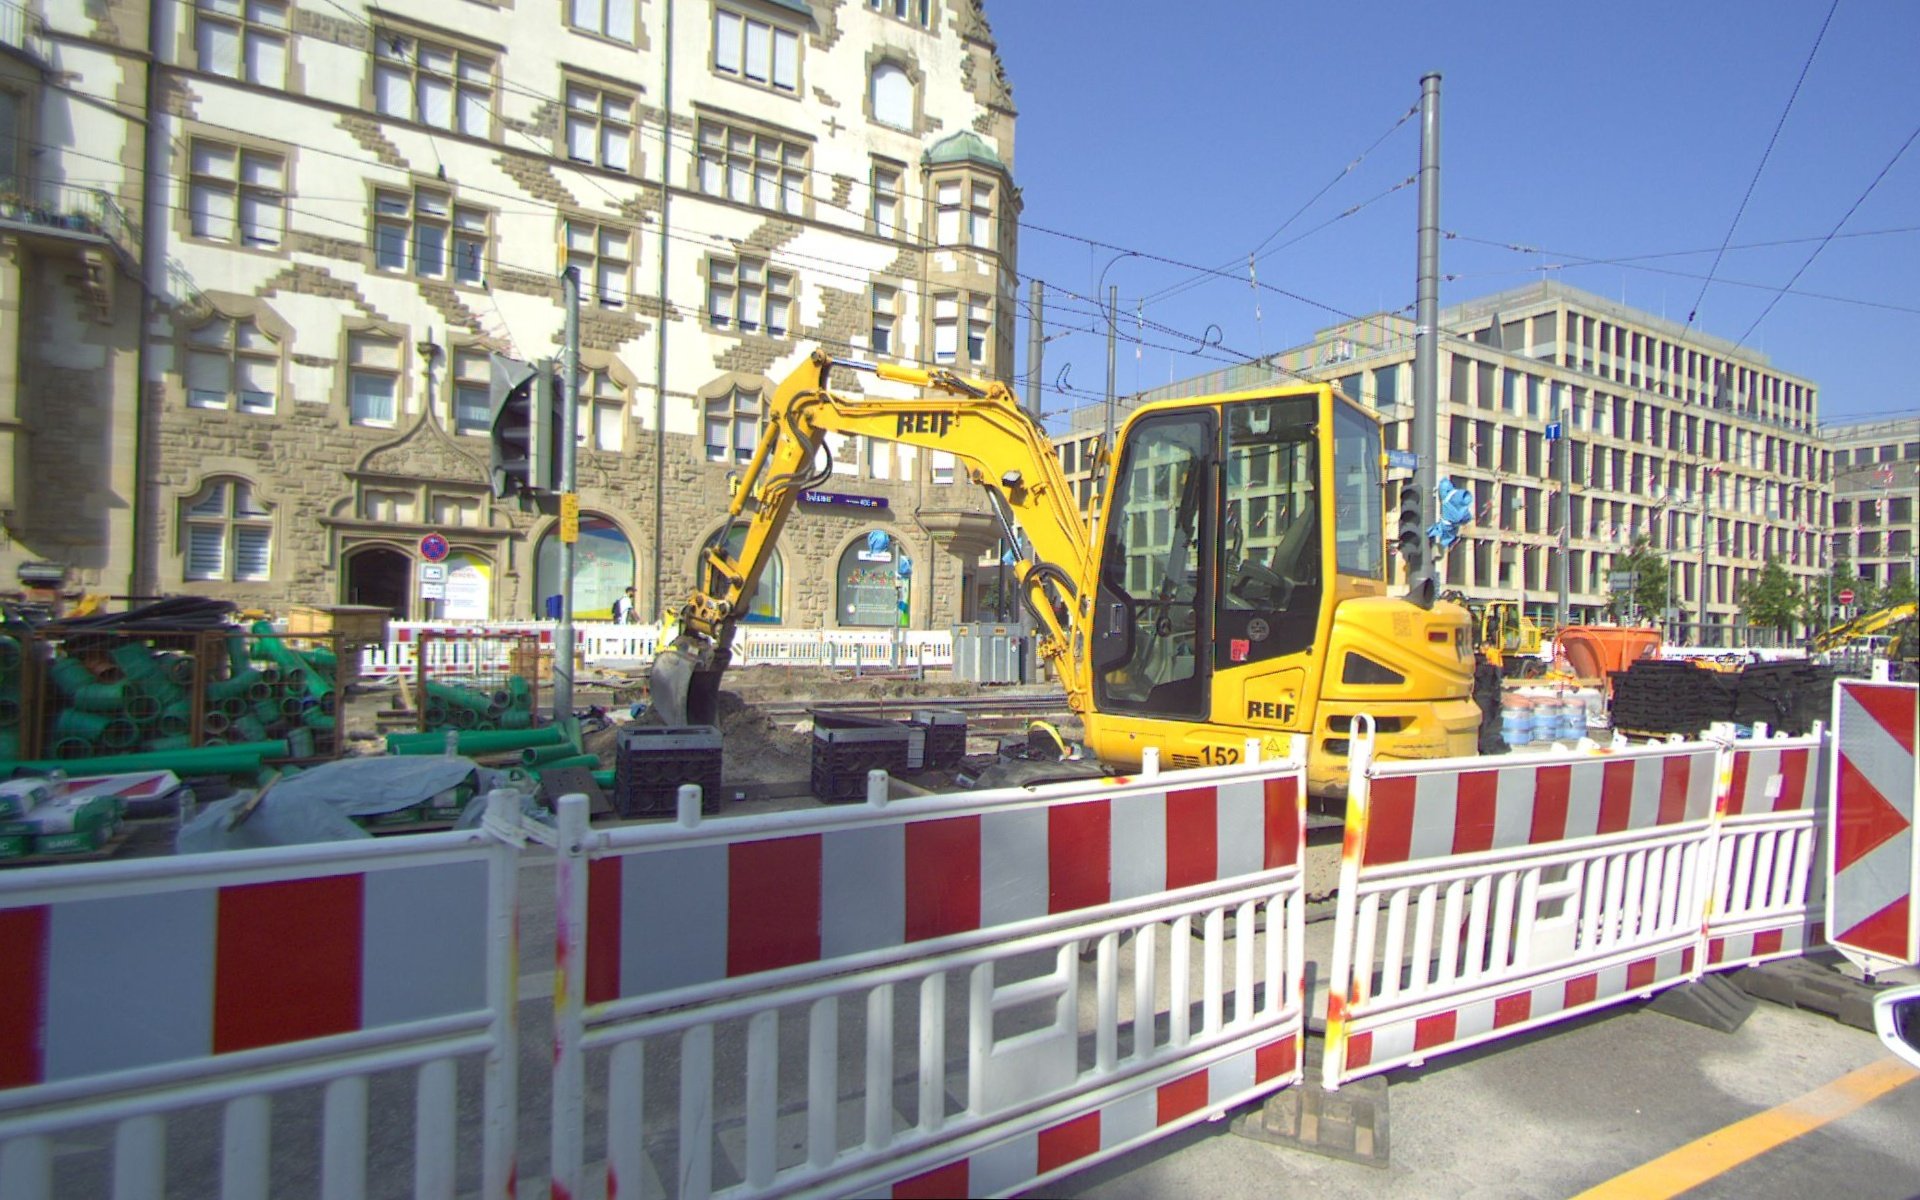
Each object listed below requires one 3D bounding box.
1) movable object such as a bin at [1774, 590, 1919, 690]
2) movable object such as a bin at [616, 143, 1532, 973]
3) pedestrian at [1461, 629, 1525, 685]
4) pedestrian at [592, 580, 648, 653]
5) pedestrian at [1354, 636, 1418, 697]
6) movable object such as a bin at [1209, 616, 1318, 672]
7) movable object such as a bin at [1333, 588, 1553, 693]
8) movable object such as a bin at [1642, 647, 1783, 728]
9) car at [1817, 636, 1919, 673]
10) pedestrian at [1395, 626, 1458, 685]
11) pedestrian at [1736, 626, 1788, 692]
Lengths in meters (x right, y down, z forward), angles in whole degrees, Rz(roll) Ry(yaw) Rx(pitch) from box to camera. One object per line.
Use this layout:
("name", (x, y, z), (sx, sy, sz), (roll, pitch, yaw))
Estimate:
("movable object such as a bin", (40.728, 1.761, 43.338), (8.871, 4.066, 3.512), (1, -1, -6))
("movable object such as a bin", (0.251, -0.175, 6.901), (6.072, 3.390, 2.106), (1, -1, 41))
("pedestrian", (14.386, 1.537, 27.118), (1.008, 1.461, 1.137), (2, -2, -29))
("pedestrian", (-8.554, 0.425, 25.291), (1.132, 1.764, 0.910), (3, -2, -30))
("pedestrian", (10.570, 1.639, 24.946), (0.906, 1.461, 1.137), (2, -2, -29))
("movable object such as a bin", (15.975, 2.266, 53.199), (2.110, 2.775, 5.586), (2, -2, -30))
("movable object such as a bin", (17.284, 1.496, 35.785), (8.244, 3.373, 2.834), (2, -2, -29))
("movable object such as a bin", (11.763, 1.350, 15.690), (2.258, 1.185, 0.748), (2, -1, -24))
("car", (52.651, 3.149, 58.267), (5.029, 2.057, 1.813), (1, -1, -12))
("pedestrian", (11.970, 1.413, 25.769), (0.906, 1.461, 1.137), (2, -2, -29))
("pedestrian", (23.847, 1.743, 29.905), (1.002, 1.890, 1.144), (1, -2, 29))
